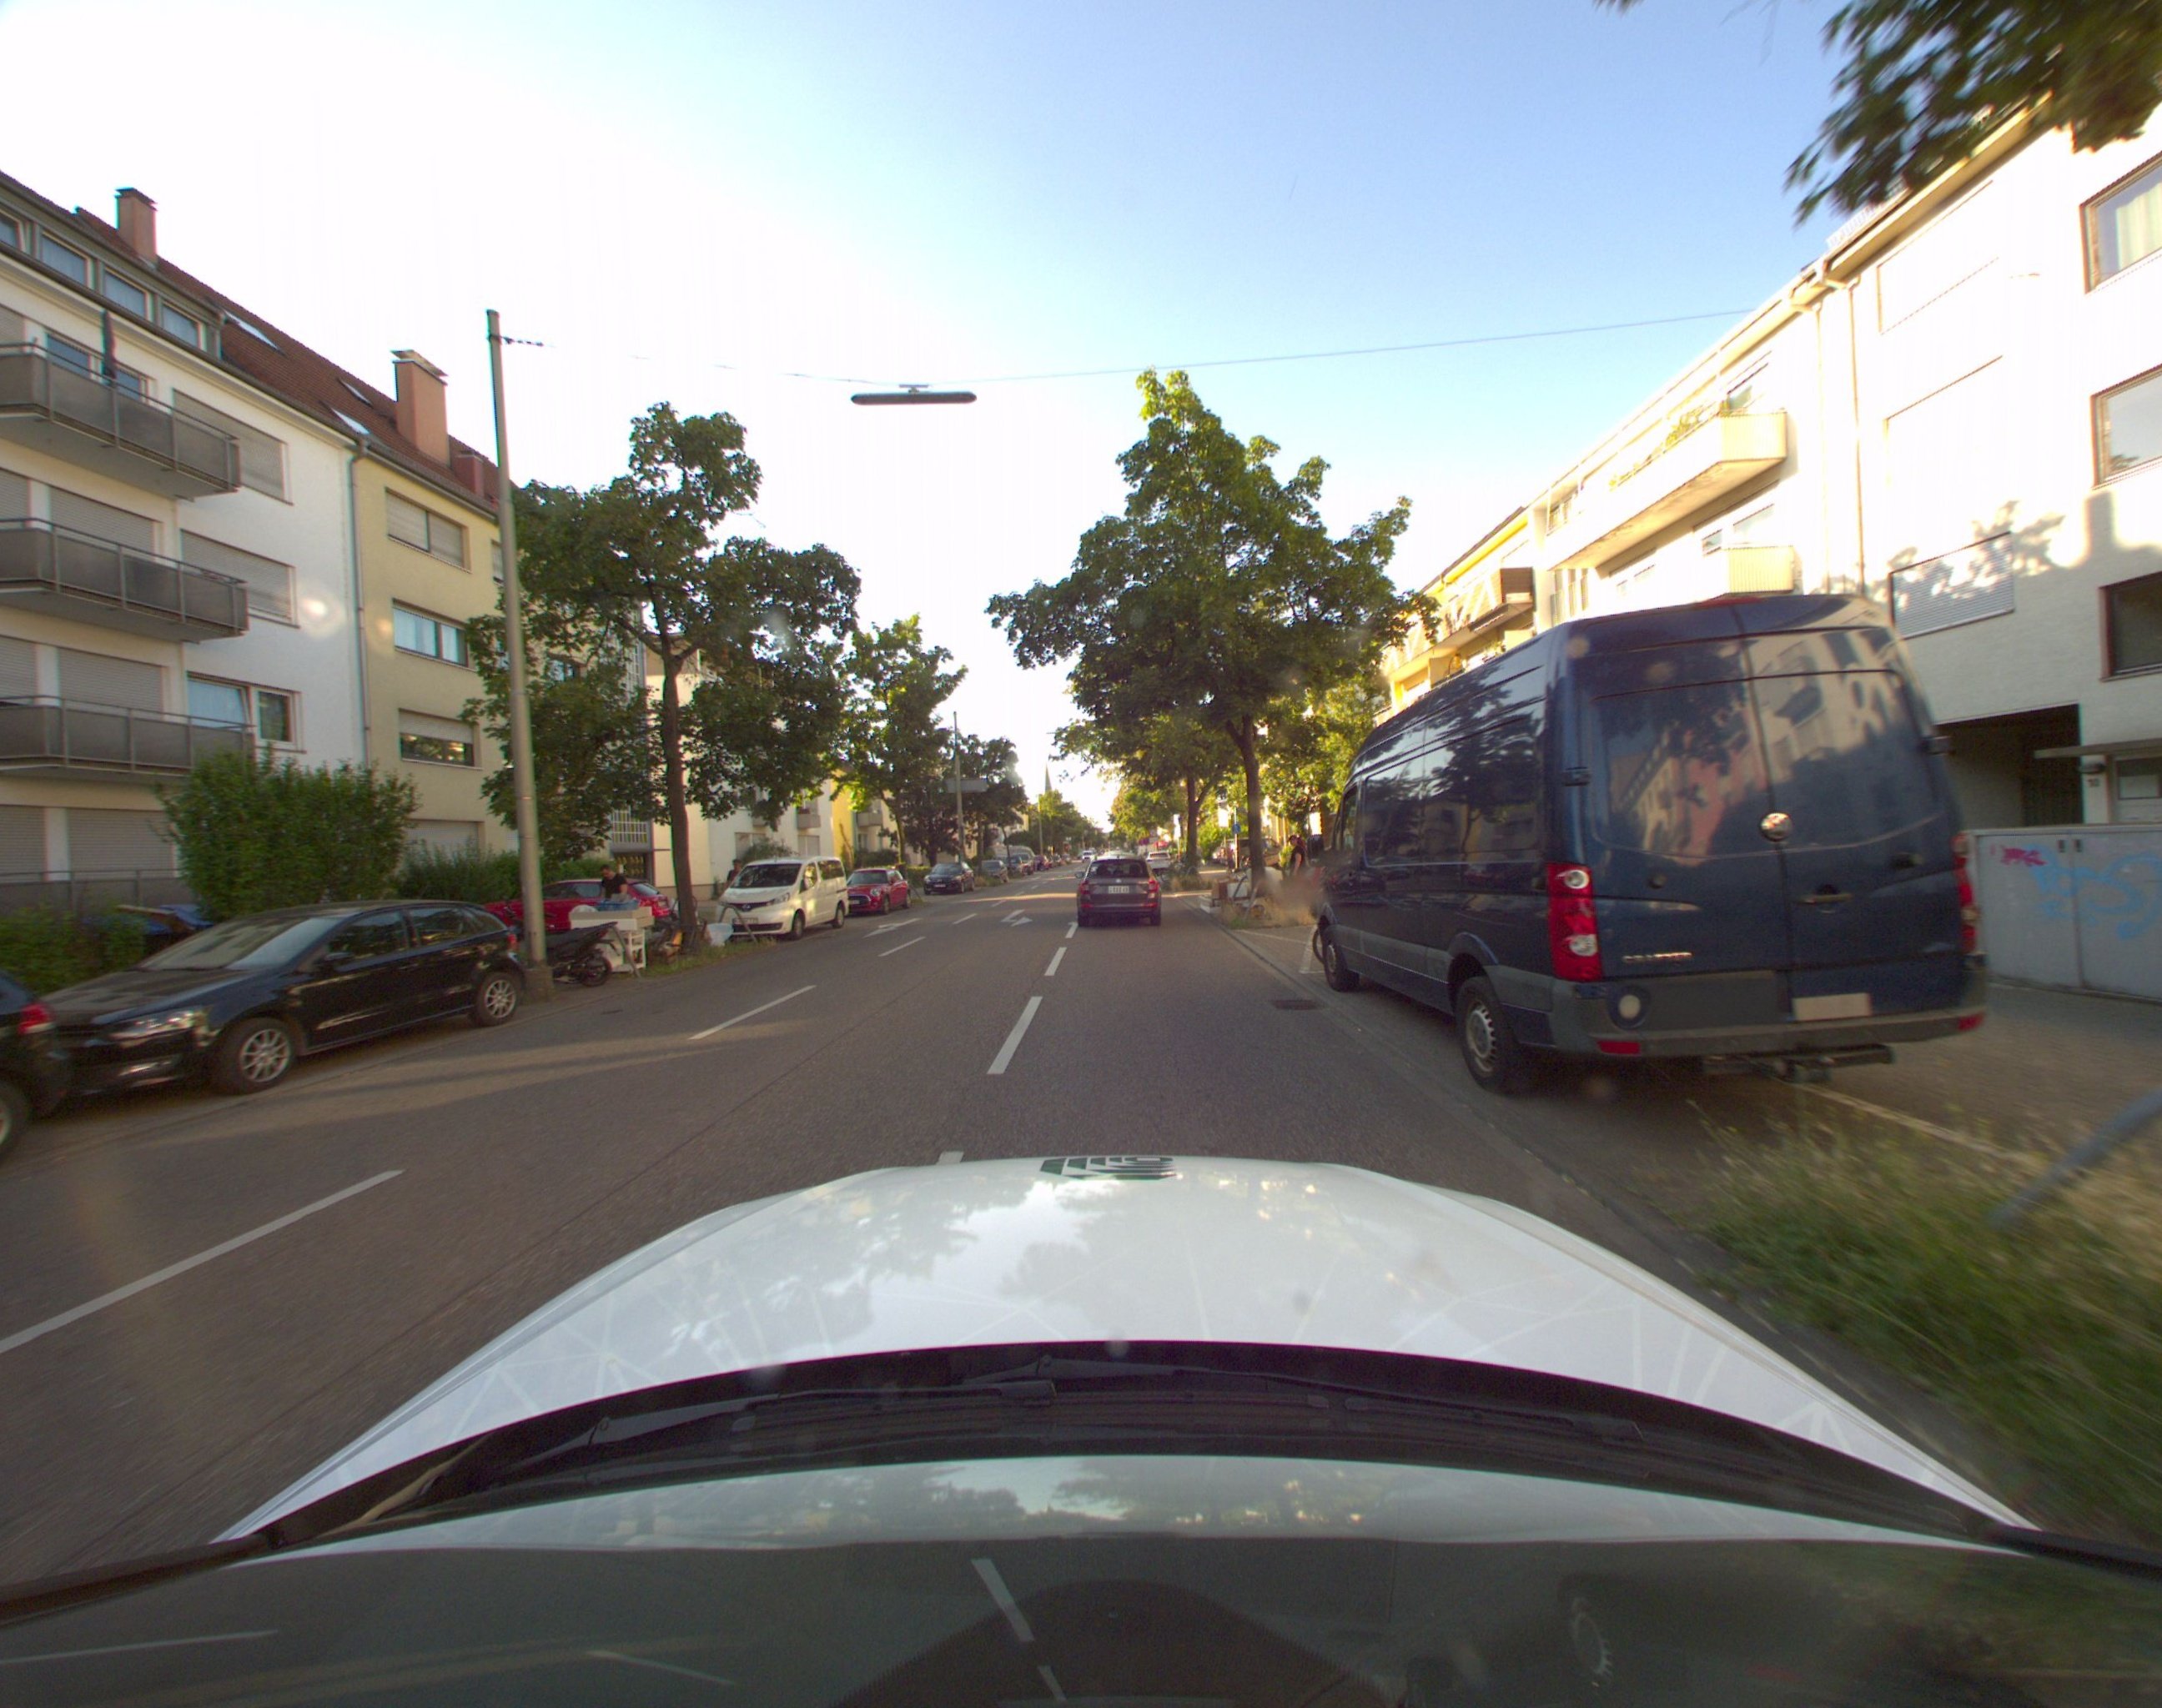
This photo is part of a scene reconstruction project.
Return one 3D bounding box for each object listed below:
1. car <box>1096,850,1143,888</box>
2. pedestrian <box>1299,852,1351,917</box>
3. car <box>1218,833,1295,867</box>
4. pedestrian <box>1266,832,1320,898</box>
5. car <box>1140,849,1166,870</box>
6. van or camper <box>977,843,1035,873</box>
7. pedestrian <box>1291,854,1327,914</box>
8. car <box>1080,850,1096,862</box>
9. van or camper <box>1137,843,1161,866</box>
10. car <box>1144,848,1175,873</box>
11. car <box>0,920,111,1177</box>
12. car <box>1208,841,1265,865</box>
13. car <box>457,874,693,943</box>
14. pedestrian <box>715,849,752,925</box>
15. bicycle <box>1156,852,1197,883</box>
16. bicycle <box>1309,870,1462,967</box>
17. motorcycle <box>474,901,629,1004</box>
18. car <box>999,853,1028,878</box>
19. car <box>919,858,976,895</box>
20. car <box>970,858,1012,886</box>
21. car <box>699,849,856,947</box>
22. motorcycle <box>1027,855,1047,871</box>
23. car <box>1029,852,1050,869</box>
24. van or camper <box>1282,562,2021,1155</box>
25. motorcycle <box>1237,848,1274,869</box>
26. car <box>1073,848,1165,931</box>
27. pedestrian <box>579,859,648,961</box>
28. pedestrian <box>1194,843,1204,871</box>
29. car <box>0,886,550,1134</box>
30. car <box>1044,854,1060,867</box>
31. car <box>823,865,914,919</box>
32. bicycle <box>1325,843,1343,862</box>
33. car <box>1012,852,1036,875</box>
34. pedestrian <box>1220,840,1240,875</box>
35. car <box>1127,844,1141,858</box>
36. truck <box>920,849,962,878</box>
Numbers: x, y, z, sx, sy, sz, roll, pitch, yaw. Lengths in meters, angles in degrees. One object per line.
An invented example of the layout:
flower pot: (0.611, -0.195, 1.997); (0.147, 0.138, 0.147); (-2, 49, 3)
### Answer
car: (1.675, 0.633, 36.551); (1.725, 1.493, 3.948); (-3, 1, -1)
pedestrian: (4.952, 0.601, 16.594); (0.795, 1.254, 0.700); (-3, 0, 0)
car: (11.243, -0.263, 52.223); (4.556, 1.892, 1.898); (-3, 0, -26)
pedestrian: (4.963, 0.242, 19.073); (1.065, 1.476, 0.476); (-3, 0, -17)
car: (5.339, 0.395, 60.944); (1.813, 1.413, 4.116); (-3, 1, 4)
van or camper: (-10.475, 0.539, 114.099); (7.615, 3.874, 2.000); (-3, 0, 0)
pedestrian: (4.971, 0.643, 17.707); (0.647, 1.254, 0.661); (-3, 0, 19)
car: (1.145, 0.354, 130.827); (1.866, 1.757, 4.188); (-3, 1, 8)
van or camper: (6.324, -0.012, 76.344); (1.986, 2.013, 4.003); (-3, 1, 2)
car: (5.002, 0.394, 52.460); (1.813, 1.413, 4.116); (-3, 1, 4)
car: (-7.515, 1.269, 3.393); (1.743, 1.502, 4.199); (-3, 1, 2)
car: (11.501, -0.094, 60.285); (3.813, 1.525, 1.502); (-3, 0, -20)
car: (-12.925, 1.352, 21.131); (4.713, 1.362, 1.993); (-3, 1, -11)
pedestrian: (-9.452, 0.895, 22.176); (0.624, 2.013, 0.616); (-3, 0, 1)
bicycle: (4.315, 0.615, 36.717); (1.658, 1.226, 0.638); (-5, 0, 15)
bicycle: (3.758, 0.795, 10.124); (1.693, 1.089, 0.405); (-3, 0, 5)
motorcycle: (-7.367, 1.327, 11.405); (0.436, 1.192, 1.718); (-3, 1, 40)
car: (-5.159, 0.832, 62.491); (1.743, 1.740, 3.593); (-3, 1, 2)
car: (-6.199, 1.010, 38.235); (1.710, 1.497, 4.250); (-3, 1, 2)
car: (-5.406, 1.055, 49.365); (1.747, 1.420, 4.429); (-3, 1, 3)
car: (-6.943, 0.898, 19.194); (1.763, 1.919, 4.462); (-3, 1, 2)
motorcycle: (-4.225, 0.858, 77.566); (0.771, 1.511, 2.006); (-3, 1, -40)
car: (-4.150, 0.669, 82.648); (1.658, 1.511, 4.181); (-3, 1, 2)
van or camper: (3.390, 0.036, 6.808); (2.059, 2.675, 5.993); (-3, 0, 2)
motorcycle: (10.398, 0.248, 48.664); (2.047, 1.125, 0.525); (-3, 0, -3)
car: (0.853, 0.684, 17.818); (1.722, 1.493, 3.954); (-3, 1, 3)
pedestrian: (-9.769, 1.141, 17.052); (0.764, 2.013, 0.976); (-3, 0, 2)
pedestrian: (7.964, 0.200, 54.982); (0.532, 1.794, 0.688); (-3, 0, 4)
car: (-7.366, 1.212, 7.805); (1.743, 1.502, 3.981); (-3, 1, 2)
car: (-3.687, 0.839, 104.491); (1.658, 1.432, 3.277); (-3, 1, 2)
car: (-6.682, 1.139, 26.008); (1.710, 1.421, 3.789); (-3, 1, 2)
bicycle: (12.997, -0.056, 41.858); (0.341, 0.950, 1.580); (0, 0, -3)
car: (-4.692, 0.773, 67.353); (1.501, 1.757, 3.696); (-3, 1, 2)
pedestrian: (7.715, 0.172, 42.160); (0.754, 1.796, 0.905); (-3, 0, -3)
car: (7.308, -0.406, 112.140); (1.723, 1.815, 3.951); (-3, 1, 1)
truck: (-11.062, 0.726, 64.319); (2.903, 2.093, 1.547); (-3, 0, 1)
